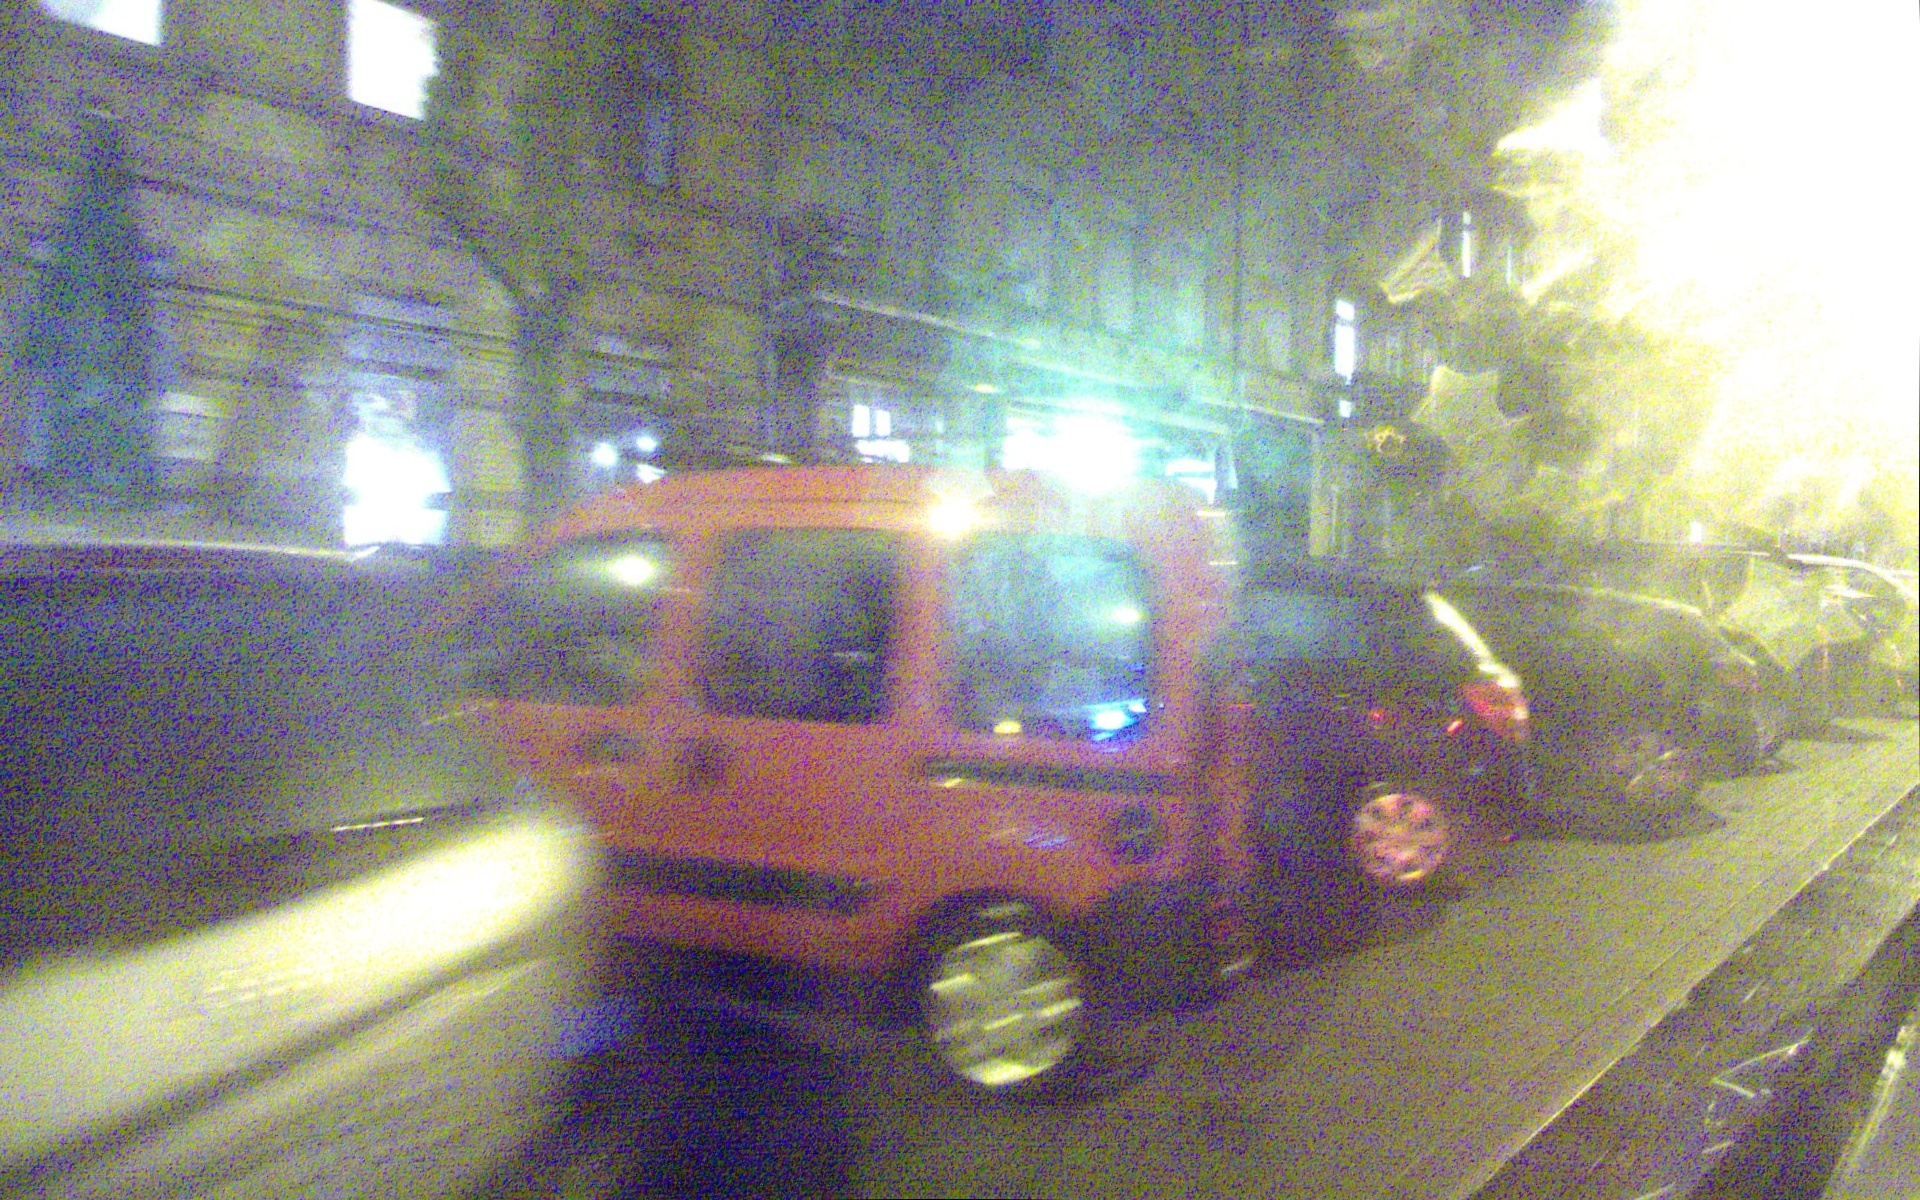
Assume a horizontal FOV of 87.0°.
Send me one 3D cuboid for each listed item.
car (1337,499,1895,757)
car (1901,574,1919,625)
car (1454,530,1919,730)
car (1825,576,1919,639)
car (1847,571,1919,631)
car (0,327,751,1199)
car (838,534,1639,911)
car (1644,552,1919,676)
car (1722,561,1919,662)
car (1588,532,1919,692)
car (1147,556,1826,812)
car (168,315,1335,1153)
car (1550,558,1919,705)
[{"bbox_3d":[5.751,0.149,9.444,3.875,1.966,1.737,3,3,13],"label":"car"},{"bbox_3d":[31.950,0.090,31.171,3.897,1.581,1.695,4,3,27],"label":"car"},{"bbox_3d":[7.836,0.232,11.161,3.875,1.814,1.737,3,3,13],"label":"car"},{"bbox_3d":[24.934,0.235,25.883,3.897,1.481,1.695,4,3,27],"label":"car"},{"bbox_3d":[27.468,0.099,28.079,3.897,1.581,1.695,4,3,27],"label":"car"},{"bbox_3d":[-2.628,0.438,1.952,4.027,1.617,1.821,4,3,23],"label":"car"},{"bbox_3d":[1.344,0.453,5.655,3.658,1.470,1.649,3,3,19],"label":"car"},{"bbox_3d":[13.971,0.176,16.938,3.899,1.763,1.694,4,3,28],"label":"car"},{"bbox_3d":[16.466,0.197,18.353,3.899,1.639,1.694,4,3,28],"label":"car"},{"bbox_3d":[12.133,0.125,14.748,4.656,2.004,1.966,4,3,21],"label":"car"},{"bbox_3d":[3.475,0.463,7.450,3.999,1.471,1.671,2,2,15],"label":"car"},{"bbox_3d":[-0.704,0.206,3.783,3.687,2.053,1.714,3,3,15],"label":"car"},{"bbox_3d":[10.088,0.323,13.048,3.880,1.568,1.735,3,3,17],"label":"car"}]
